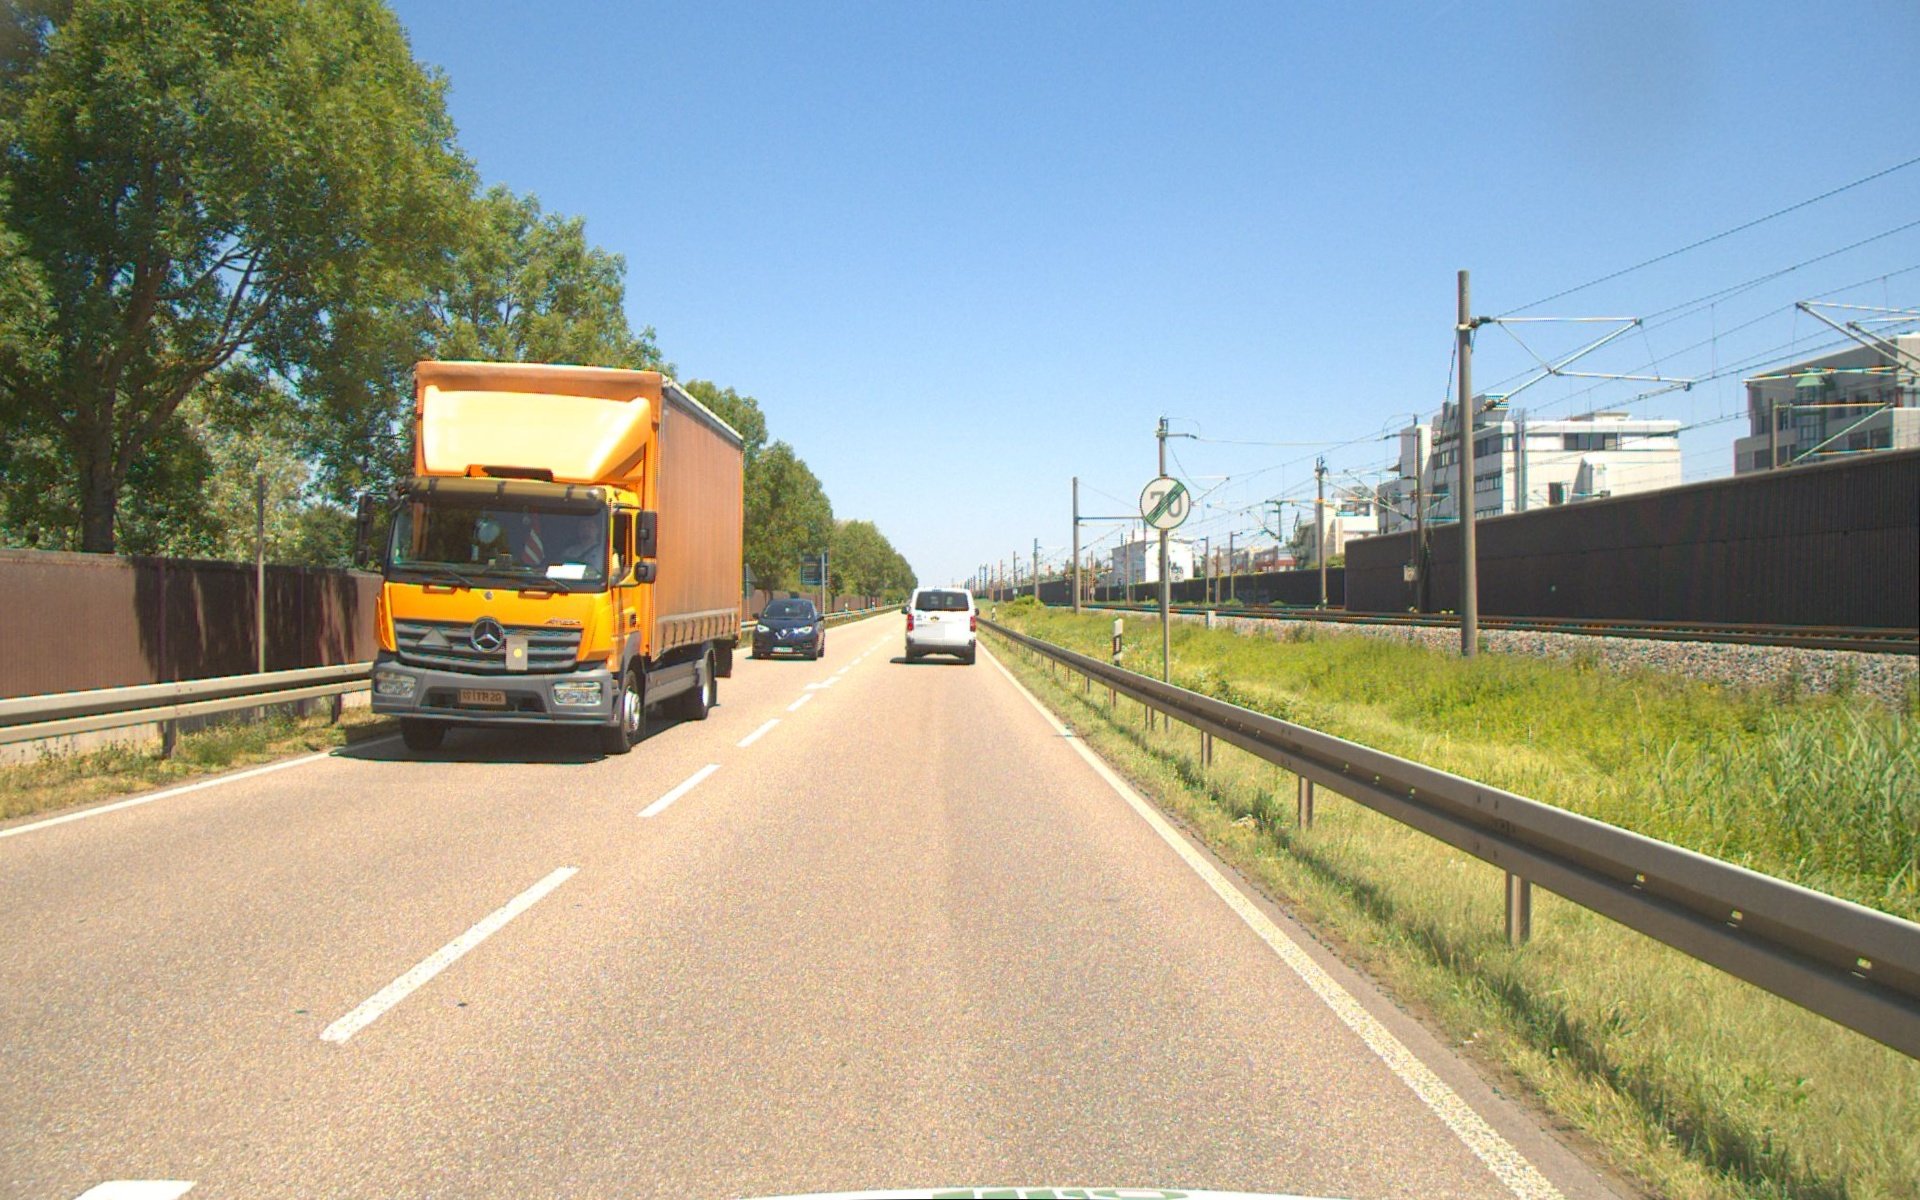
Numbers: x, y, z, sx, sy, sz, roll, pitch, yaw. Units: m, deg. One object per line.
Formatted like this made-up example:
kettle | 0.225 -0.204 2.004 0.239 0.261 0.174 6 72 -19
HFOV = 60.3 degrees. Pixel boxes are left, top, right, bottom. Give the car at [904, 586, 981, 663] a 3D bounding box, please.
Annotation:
car | -0.479 0.622 44.040 1.906 1.914 4.879 1 0 -1

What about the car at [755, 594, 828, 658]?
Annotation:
car | -4.438 0.658 44.029 1.589 1.605 3.762 0 0 -1

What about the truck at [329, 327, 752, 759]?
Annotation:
truck | -4.413 -0.508 19.764 2.735 3.907 9.322 1 0 -1
